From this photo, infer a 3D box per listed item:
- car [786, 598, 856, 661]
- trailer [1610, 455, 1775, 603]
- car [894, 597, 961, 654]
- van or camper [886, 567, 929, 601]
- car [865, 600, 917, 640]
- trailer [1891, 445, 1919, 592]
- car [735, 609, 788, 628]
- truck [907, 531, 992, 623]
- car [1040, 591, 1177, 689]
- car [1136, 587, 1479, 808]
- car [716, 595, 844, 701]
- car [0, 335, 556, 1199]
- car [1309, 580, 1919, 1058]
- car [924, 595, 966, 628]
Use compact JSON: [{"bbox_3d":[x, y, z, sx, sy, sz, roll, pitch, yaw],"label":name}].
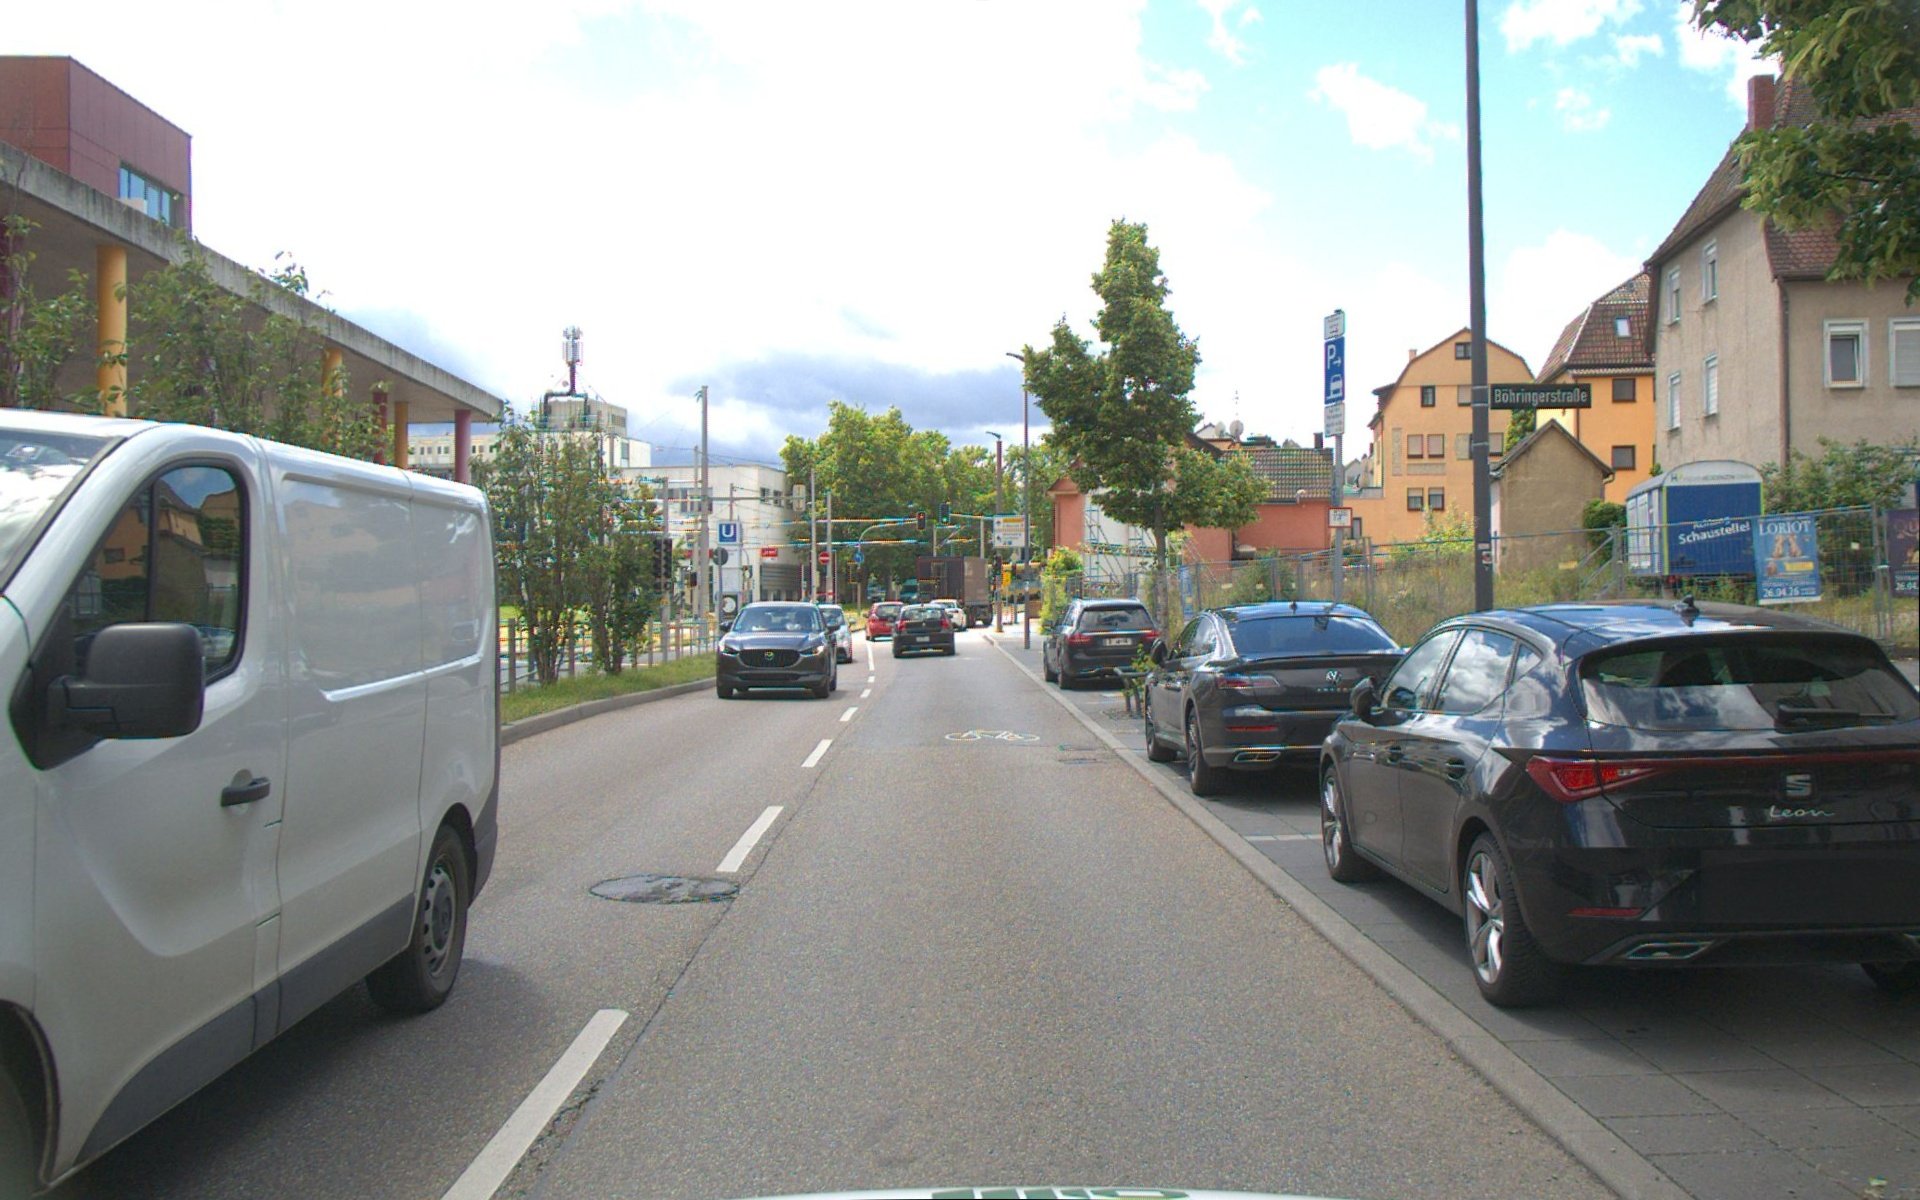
[{"bbox_3d":[-3.665,0.746,43.817,1.736,1.534,3.997,-1,0,-4],"label":"car"},{"bbox_3d":[17.410,-1.583,39.682,2.353,3.177,6.166,-2,0,13],"label":"trailer"},{"bbox_3d":[-0.948,0.679,46.342,1.692,1.482,3.806,-1,1,-4],"label":"car"},{"bbox_3d":[-4.899,-1.470,155.230,2.129,2.855,6.071,0,-2,18],"label":"van or camper"},{"bbox_3d":[-2.670,0.752,63.565,1.679,1.418,3.803,-1,1,-7],"label":"car"},{"bbox_3d":[23.789,-1.849,35.588,6.009,3.177,2.414,-2,0,9],"label":"trailer"},{"bbox_3d":[-16.052,1.509,133.882,1.962,1.490,3.981,-1,0,39],"label":"car"},{"bbox_3d":[-0.455,-1.127,89.049,3.135,4.615,9.035,0,-1,9],"label":"truck"},{"bbox_3d":[2.457,0.625,28.420,1.746,1.477,4.474,-2,0,-2],"label":"car"},{"bbox_3d":[2.661,0.677,13.803,1.827,1.476,4.643,-2,0,0],"label":"car"},{"bbox_3d":[-2.879,0.737,27.198,1.690,1.548,4.253,2,0,-2],"label":"car"},{"bbox_3d":[-2.699,0.494,4.456,1.963,1.951,5.064,1,0,0],"label":"car"},{"bbox_3d":[2.807,0.692,7.361,1.658,1.486,4.147,-2,0,1],"label":"car"},{"bbox_3d":[-0.722,0.545,78.413,1.850,1.491,4.067,-1,-1,-2],"label":"car"}]
